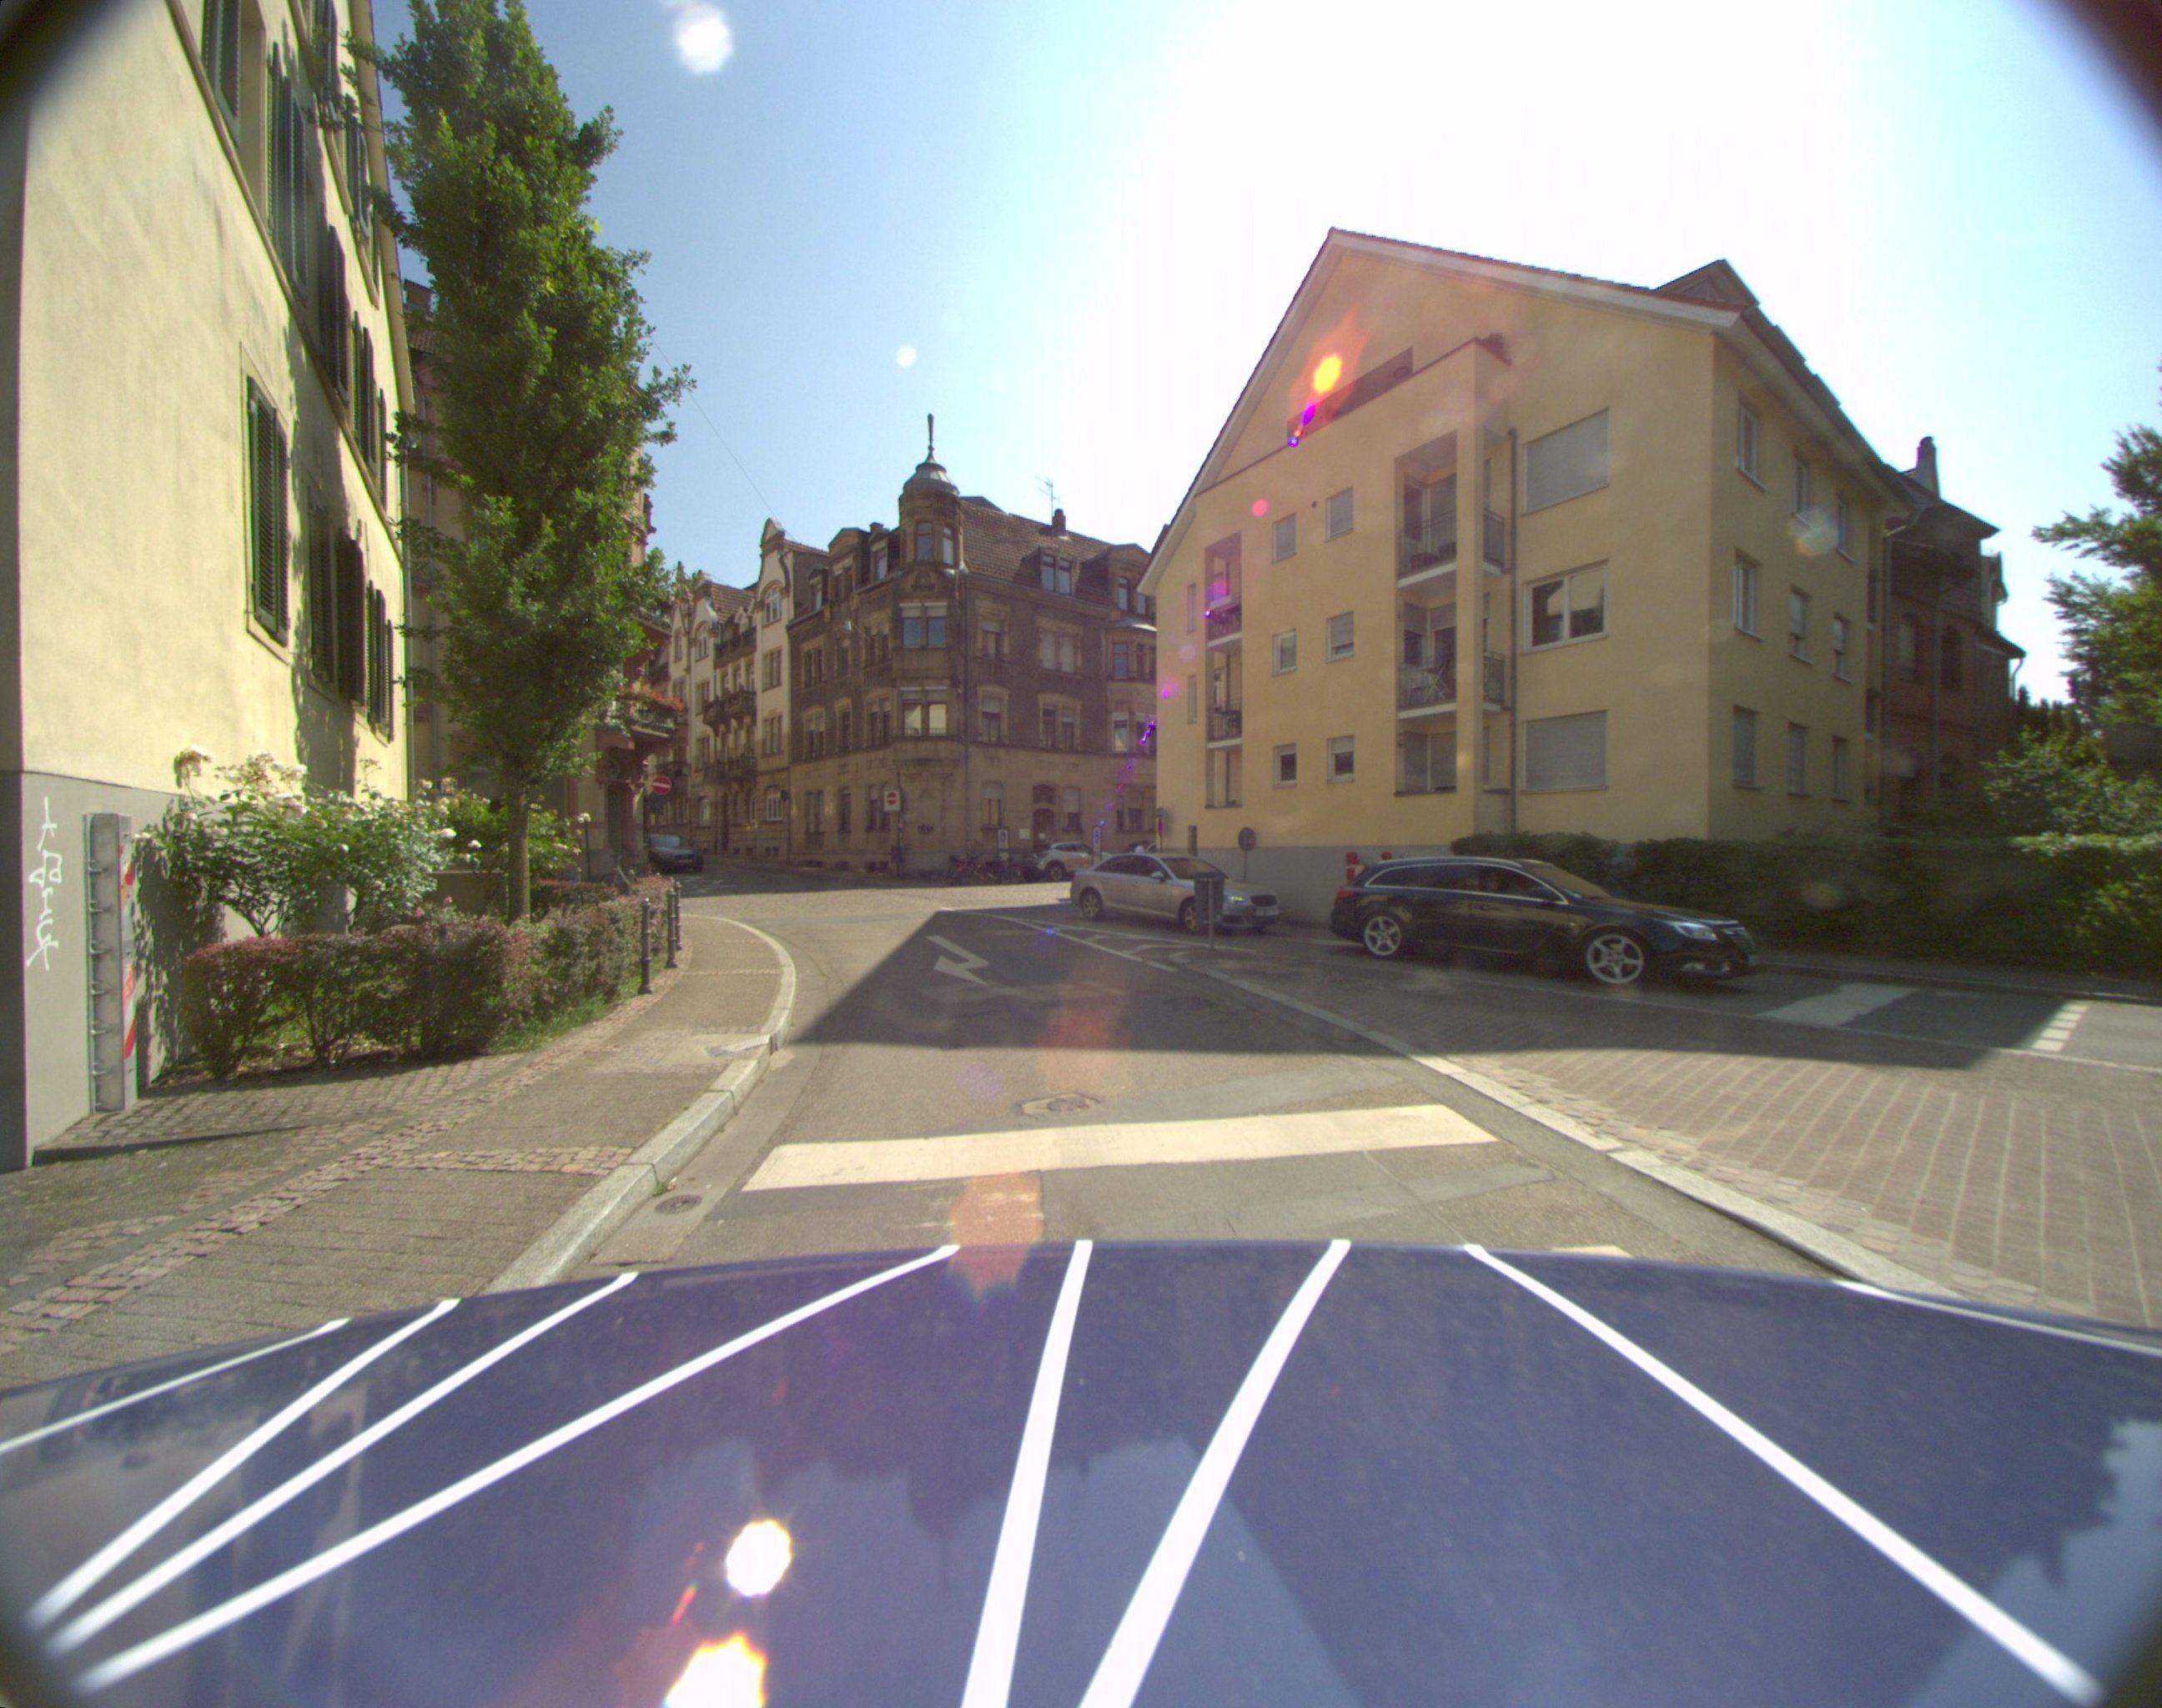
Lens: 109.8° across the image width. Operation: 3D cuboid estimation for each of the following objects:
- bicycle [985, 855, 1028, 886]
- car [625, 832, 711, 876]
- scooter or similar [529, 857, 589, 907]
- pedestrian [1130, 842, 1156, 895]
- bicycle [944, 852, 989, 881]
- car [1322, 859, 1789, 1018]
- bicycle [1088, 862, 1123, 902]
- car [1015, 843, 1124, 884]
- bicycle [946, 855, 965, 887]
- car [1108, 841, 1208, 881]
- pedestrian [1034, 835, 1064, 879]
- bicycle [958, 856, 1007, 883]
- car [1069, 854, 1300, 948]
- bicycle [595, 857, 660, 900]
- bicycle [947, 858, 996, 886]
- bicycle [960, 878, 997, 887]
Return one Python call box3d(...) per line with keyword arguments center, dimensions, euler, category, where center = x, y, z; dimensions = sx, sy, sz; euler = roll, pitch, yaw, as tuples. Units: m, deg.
box3d(center=(-2.750, 0.619, 28.024), dimensions=(1.638, 1.079, 0.286), euler=(-2, -2, 26), category="bicycle")
box3d(center=(-17.138, -0.062, 31.449), dimensions=(4.246, 1.574, 1.866), euler=(3, 5, 43), category="car")
box3d(center=(-13.530, 0.710, 19.699), dimensions=(0.441, 1.228, 1.193), euler=(1, 2, 40), category="scooter or similar")
box3d(center=(1.908, 0.430, 23.361), dimensions=(0.658, 1.609, 0.492), euler=(-1, 2, -24), category="pedestrian")
box3d(center=(-4.492, 0.495, 29.885), dimensions=(1.645, 1.080, 0.494), euler=(0, 5, -36), category="bicycle")
box3d(center=(5.640, 0.844, 9.681), dimensions=(1.723, 1.453, 4.711), euler=(2, 0, -38), category="car")
box3d(center=(0.714, 0.804, 22.474), dimensions=(0.392, 1.073, 1.906), euler=(0, 1, -19), category="bicycle")
box3d(center=(-0.419, 0.329, 29.918), dimensions=(3.936, 1.535, 1.847), euler=(-1, 1, -37), category="car")
box3d(center=(-4.542, 0.612, 27.497), dimensions=(0.286, 1.080, 1.639), euler=(-4, 2, -22), category="bicycle")
box3d(center=(3.321, 0.281, 32.505), dimensions=(4.007, 1.535, 1.848), euler=(-2, 1, -35), category="car")
box3d(center=(-1.325, 0.111, 31.424), dimensions=(0.982, 1.749, 0.621), euler=(-2, 6, -37), category="pedestrian")
box3d(center=(-3.659, 0.583, 28.218), dimensions=(1.637, 1.084, 0.285), euler=(2, 46, 43), category="bicycle")
box3d(center=(1.834, 0.775, 14.767), dimensions=(1.881, 1.484, 4.370), euler=(-1, 1, -38), category="car")
box3d(center=(-12.715, 0.668, 21.291), dimensions=(1.789, 1.140, 0.506), euler=(1, 1, 18), category="bicycle")
box3d(center=(-4.010, 0.657, 27.866), dimensions=(1.637, 1.084, 0.285), euler=(2, 46, 43), category="bicycle")
box3d(center=(-3.728, 1.029, 27.596), dimensions=(1.080, 0.286, 1.121), euler=(0, 1, -22), category="bicycle")
